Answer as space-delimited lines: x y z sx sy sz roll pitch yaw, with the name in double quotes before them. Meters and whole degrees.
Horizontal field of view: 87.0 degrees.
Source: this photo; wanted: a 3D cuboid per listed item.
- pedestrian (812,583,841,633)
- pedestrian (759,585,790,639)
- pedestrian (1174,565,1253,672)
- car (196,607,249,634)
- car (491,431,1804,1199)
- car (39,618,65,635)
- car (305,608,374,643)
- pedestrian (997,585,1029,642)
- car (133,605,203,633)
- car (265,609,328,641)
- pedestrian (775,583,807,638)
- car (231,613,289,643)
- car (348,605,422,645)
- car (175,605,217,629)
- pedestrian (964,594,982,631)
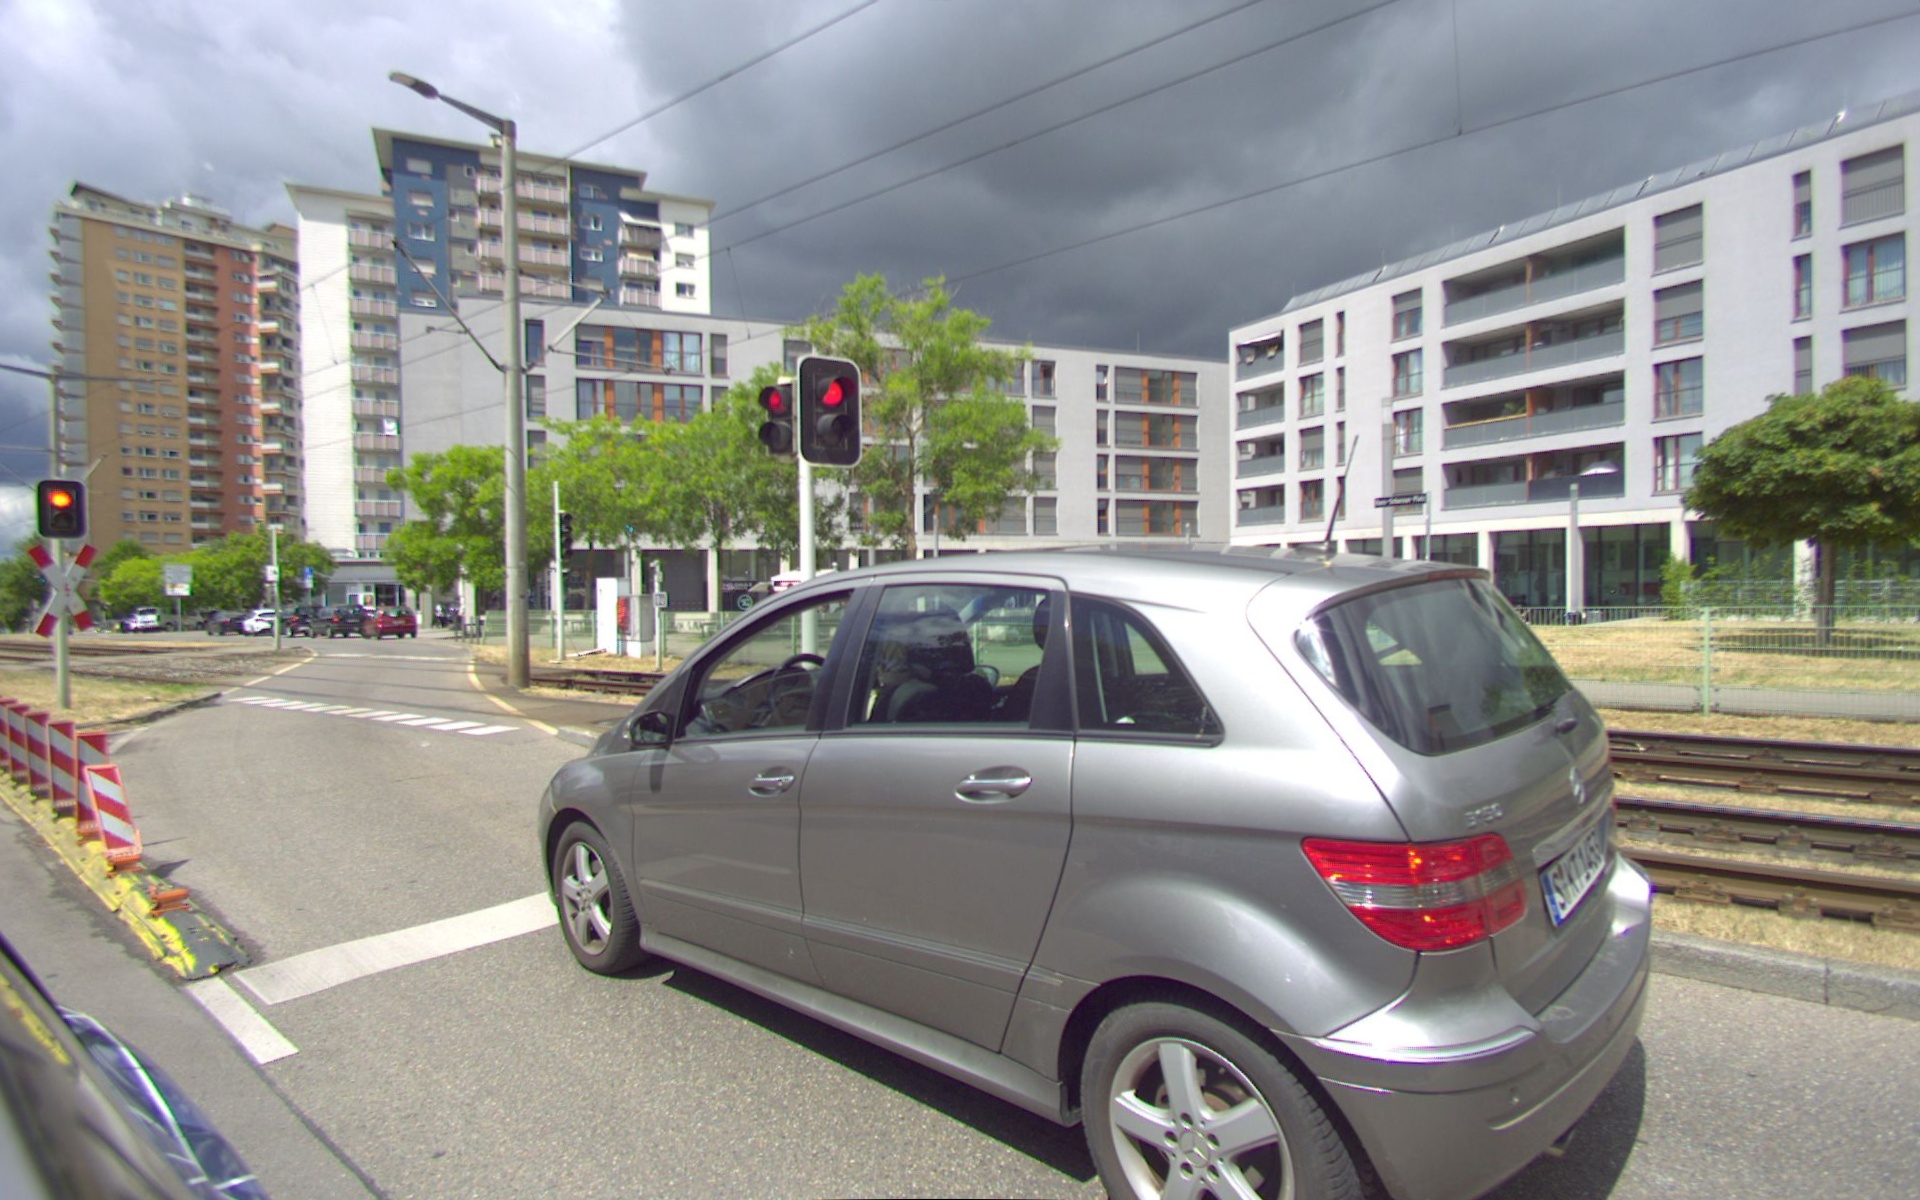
"pedestrian" -5.554 0.330 42.080 0.906 2.029 0.728 -1 1 24
"pedestrian" -5.783 0.369 31.525 0.538 1.666 0.739 -1 1 41
"pedestrian" 4.005 0.280 15.980 0.937 1.624 0.746 -1 1 41
"car" -44.819 1.226 61.512 3.801 1.551 1.758 -1 1 41
"car" 0.159 0.598 3.540 4.176 1.672 1.837 -1 1 44
"car" -88.466 2.585 98.554 1.756 1.511 3.807 -3 1 -43
"car" -30.139 1.208 49.138 3.803 1.551 1.869 -1 1 43
"pedestrian" 1.538 0.387 29.347 0.744 1.623 0.535 -2 1 19
"car" -61.859 1.449 79.118 1.856 1.940 4.496 -2 1 1
"car" -34.906 1.296 53.187 3.801 1.551 1.758 -1 1 41
"pedestrian" -5.167 0.316 31.009 0.538 1.666 0.739 -1 1 41
"car" -39.566 1.547 57.194 3.801 1.551 1.758 -1 1 41
"car" -25.486 1.074 44.823 1.867 1.635 3.806 -3 1 -45
"car" -58.046 1.280 76.831 3.801 1.672 1.758 -1 1 41
"pedestrian" 0.701 0.666 53.628 0.737 1.920 0.540 -2 1 -21
